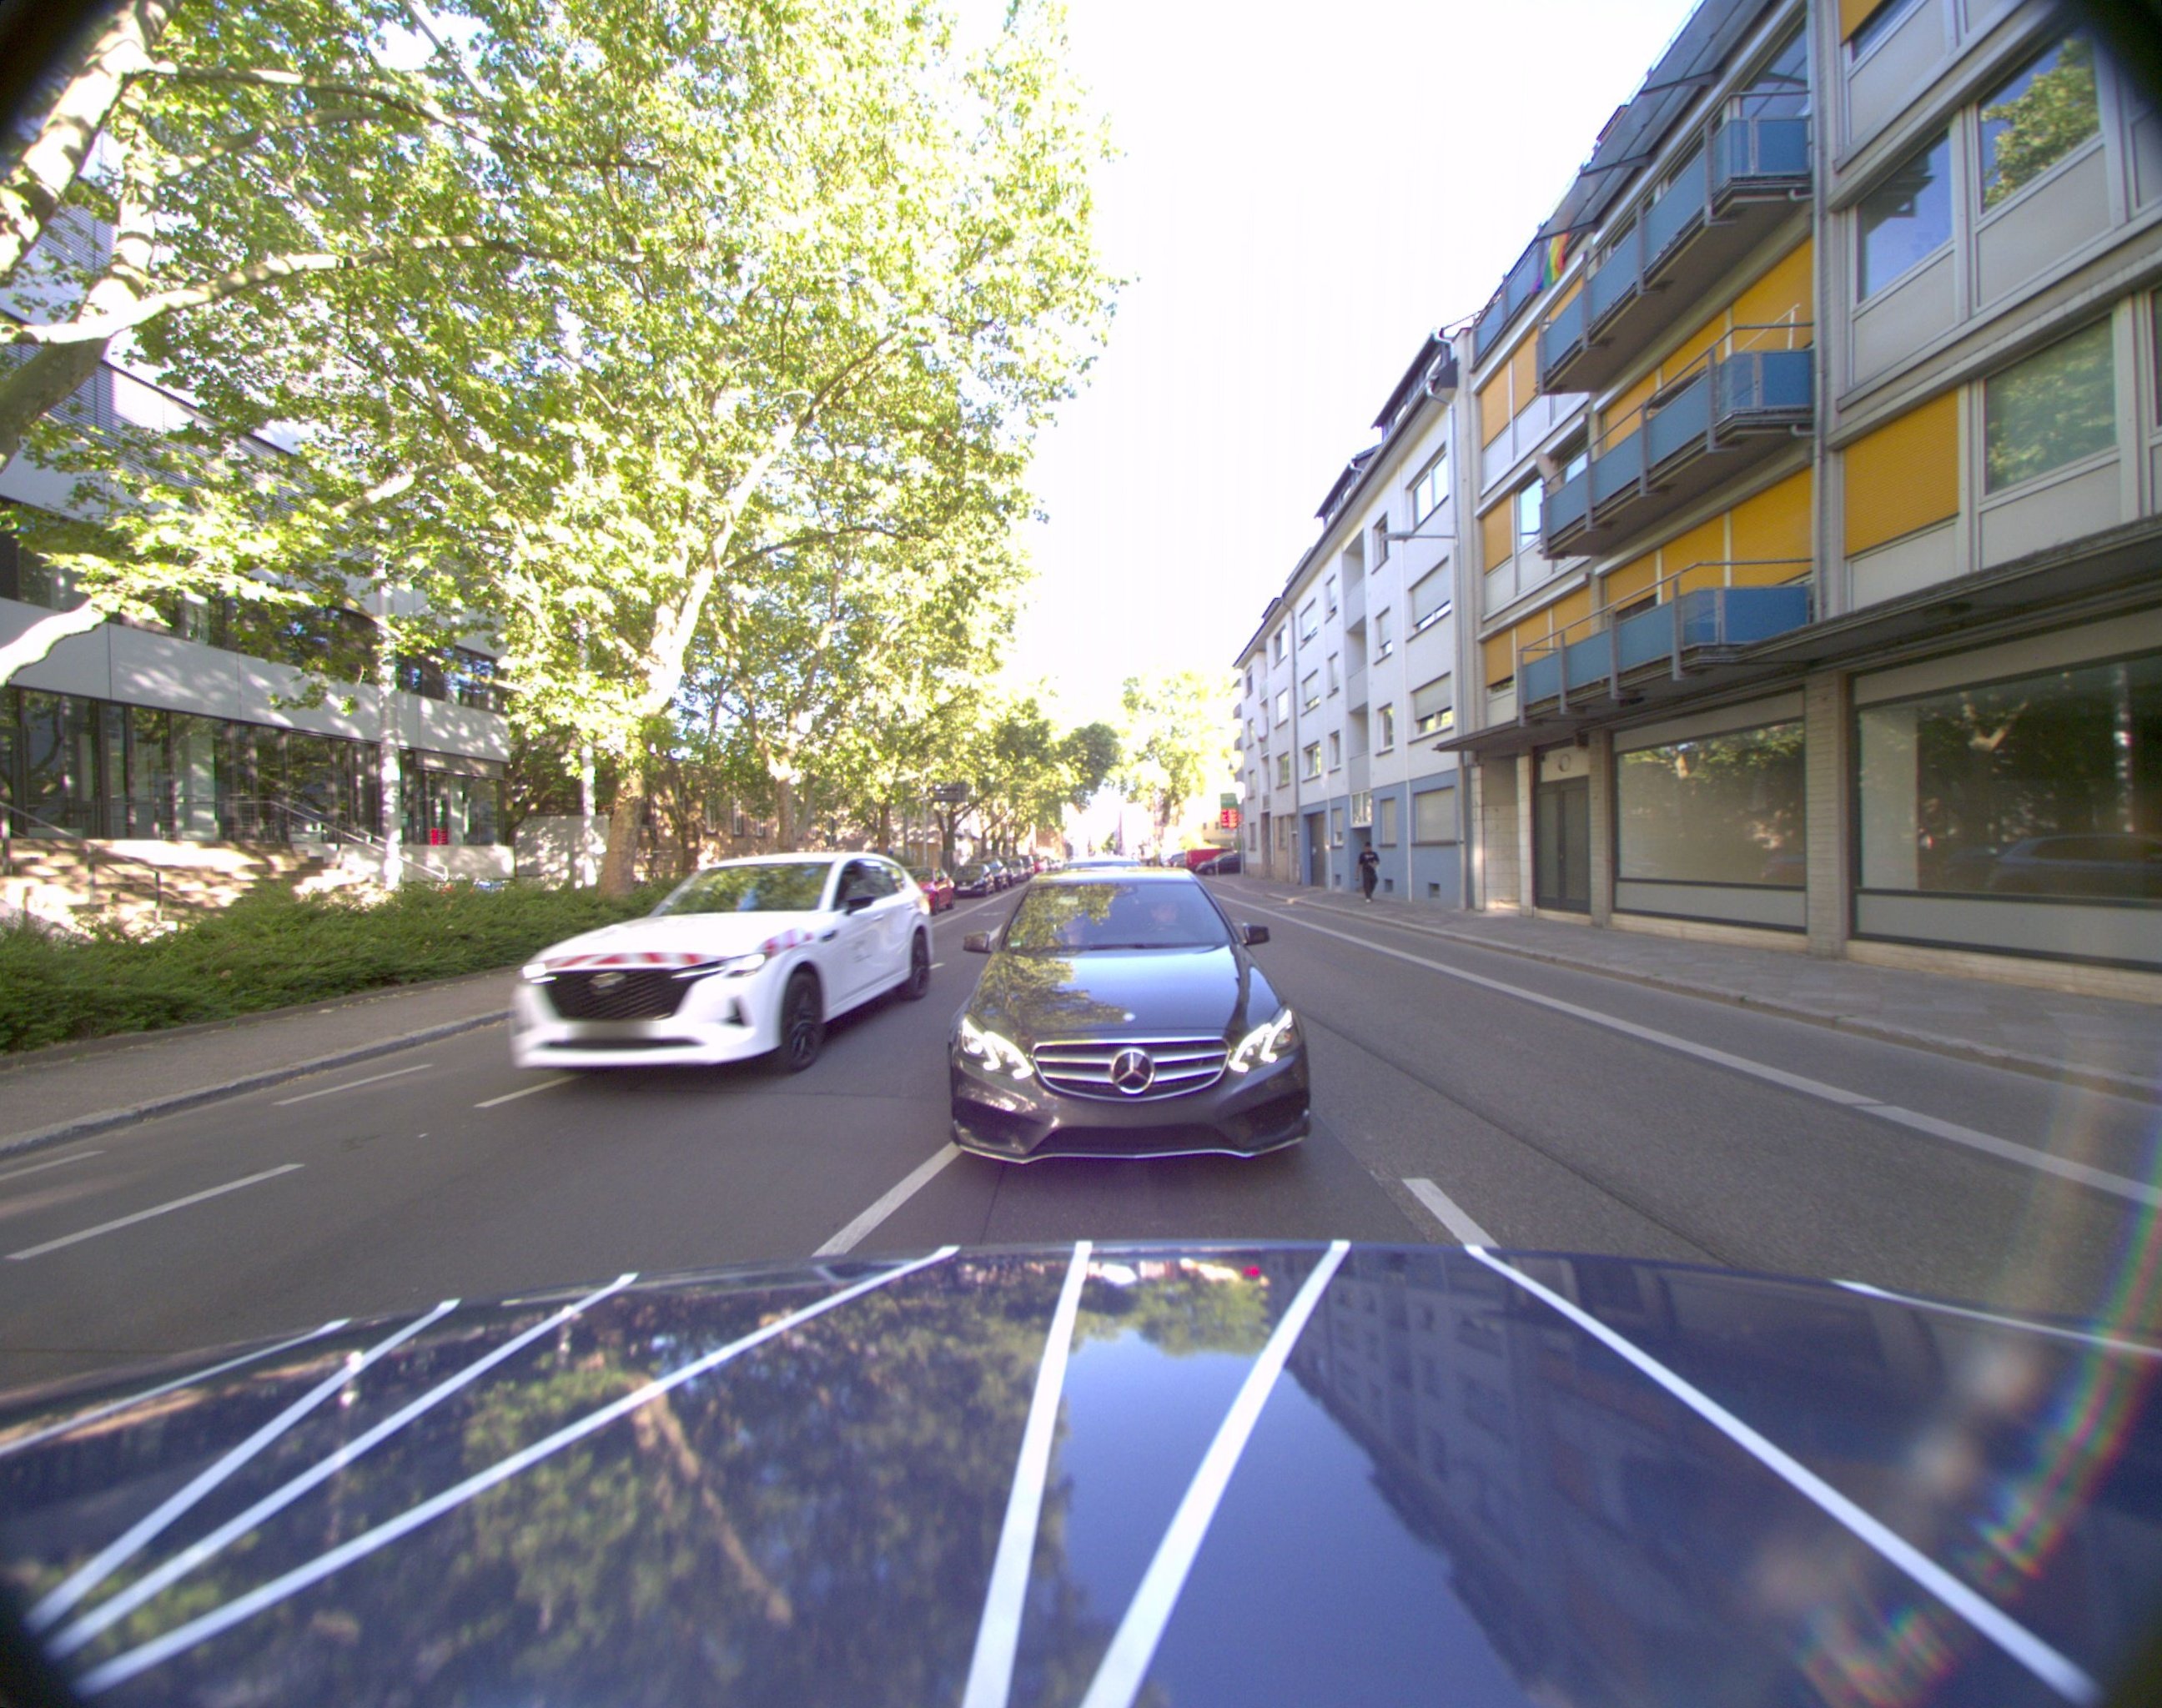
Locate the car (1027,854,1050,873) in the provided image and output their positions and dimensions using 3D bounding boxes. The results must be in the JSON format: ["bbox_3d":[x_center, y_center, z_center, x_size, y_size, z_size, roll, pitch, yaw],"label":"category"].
[{"bbox_3d":[-4.004,0.902,72.157,1.755,1.652,4.447,-3,0,1],"label":"car"}]

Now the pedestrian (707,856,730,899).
[{"bbox_3d":[-14.613,0.935,30.657,0.525,1.660,0.661,-2,1,2],"label":"pedestrian"}]

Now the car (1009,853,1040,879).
[{"bbox_3d":[-4.104,0.820,55.738,1.755,1.753,4.447,-3,0,1],"label":"car"}]

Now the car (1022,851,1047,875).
[{"bbox_3d":[-3.998,0.727,66.371,1.755,1.941,4.447,-3,0,1],"label":"car"}]

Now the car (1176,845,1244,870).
[{"bbox_3d":[10.635,0.288,63.087,5.223,1.969,2.257,-2,0,1],"label":"car"}]

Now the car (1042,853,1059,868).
[{"bbox_3d":[-3.651,0.773,92.782,1.755,1.652,4.447,-3,0,1],"label":"car"}]

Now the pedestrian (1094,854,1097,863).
[{"bbox_3d":[3.194,1.084,171.887,0.616,2.002,0.691,-2,1,1],"label":"pedestrian"}]

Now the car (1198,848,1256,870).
[{"bbox_3d":[10.911,0.385,56.973,3.997,1.552,1.743,-2,0,1],"label":"car"}]

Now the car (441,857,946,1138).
[{"bbox_3d":[-2.897,0.944,7.062,1.947,1.698,4.485,-3,0,6],"label":"car"}]

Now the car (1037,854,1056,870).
[{"bbox_3d":[-3.777,0.869,83.497,1.755,1.652,4.447,-3,0,1],"label":"car"}]

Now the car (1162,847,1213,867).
[{"bbox_3d":[11.321,0.342,81.167,5.042,1.926,2.315,-2,0,1],"label":"car"}]

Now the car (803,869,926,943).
[{"bbox_3d":[-5.087,1.170,18.425,1.755,1.424,3.909,-3,0,1],"label":"car"}]

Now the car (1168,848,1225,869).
[{"bbox_3d":[11.098,0.438,73.503,5.143,1.926,2.187,-2,0,1],"label":"car"}]

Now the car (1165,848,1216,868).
[{"bbox_3d":[11.285,0.367,78.701,4.991,1.926,2.083,-2,0,1],"label":"car"}]

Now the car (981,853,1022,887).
[{"bbox_3d":[-4.555,0.869,44.044,1.755,1.810,4.447,-3,0,1],"label":"car"}]

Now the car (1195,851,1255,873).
[{"bbox_3d":[10.355,0.556,54.763,3.997,1.412,1.743,-2,0,1],"label":"car"}]

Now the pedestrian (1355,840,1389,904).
[{"bbox_3d":[8.257,0.501,21.604,0.663,1.761,0.793,-2,1,6],"label":"pedestrian"}]

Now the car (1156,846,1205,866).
[{"bbox_3d":[11.188,0.196,85.503,5.143,2.135,2.187,-2,0,1],"label":"car"}]

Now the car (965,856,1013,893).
[{"bbox_3d":[-4.565,0.974,38.246,1.755,1.644,4.174,-3,0,1],"label":"car"}]

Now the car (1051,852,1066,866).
[{"bbox_3d":[-3.016,0.649,103.185,1.755,1.652,4.447,-3,0,1],"label":"car"}]

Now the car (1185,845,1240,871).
[{"bbox_3d":[10.330,0.295,60.063,3.997,1.926,1.867,-2,0,1],"label":"car"}]

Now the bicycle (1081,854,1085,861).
[{"bbox_3d":[0.257,0.516,109.430,0.574,1.053,1.595,-2,0,1],"label":"bicycle"}]

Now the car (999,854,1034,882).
[{"bbox_3d":[-4.274,0.878,50.927,1.755,1.718,4.447,-3,0,1],"label":"car"}]

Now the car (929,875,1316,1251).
[{"bbox_3d":[0.210,0.979,5.339,1.667,1.499,4.000,-1,0,1],"label":"car"}]

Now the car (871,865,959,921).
[{"bbox_3d":[-5.036,1.144,23.638,1.755,1.459,3.909,-3,0,1],"label":"car"}]

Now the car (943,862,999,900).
[{"bbox_3d":[-4.752,1.116,33.276,1.755,1.424,3.909,-3,0,1],"label":"car"}]

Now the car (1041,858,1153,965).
[{"bbox_3d":[0.269,0.882,13.591,1.667,1.563,4.000,-1,0,1],"label":"car"}]

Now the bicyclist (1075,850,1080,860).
[{"bbox_3d":[-0.530,0.173,109.665,0.650,1.427,0.741,-2,1,1],"label":"bicyclist"}]

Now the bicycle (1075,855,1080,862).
[{"bbox_3d":[-0.518,0.667,109.639,0.650,1.053,1.595,-2,0,1],"label":"bicycle"}]

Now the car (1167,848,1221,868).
[{"bbox_3d":[11.270,0.399,76.203,5.054,1.926,2.161,-2,0,1],"label":"car"}]
